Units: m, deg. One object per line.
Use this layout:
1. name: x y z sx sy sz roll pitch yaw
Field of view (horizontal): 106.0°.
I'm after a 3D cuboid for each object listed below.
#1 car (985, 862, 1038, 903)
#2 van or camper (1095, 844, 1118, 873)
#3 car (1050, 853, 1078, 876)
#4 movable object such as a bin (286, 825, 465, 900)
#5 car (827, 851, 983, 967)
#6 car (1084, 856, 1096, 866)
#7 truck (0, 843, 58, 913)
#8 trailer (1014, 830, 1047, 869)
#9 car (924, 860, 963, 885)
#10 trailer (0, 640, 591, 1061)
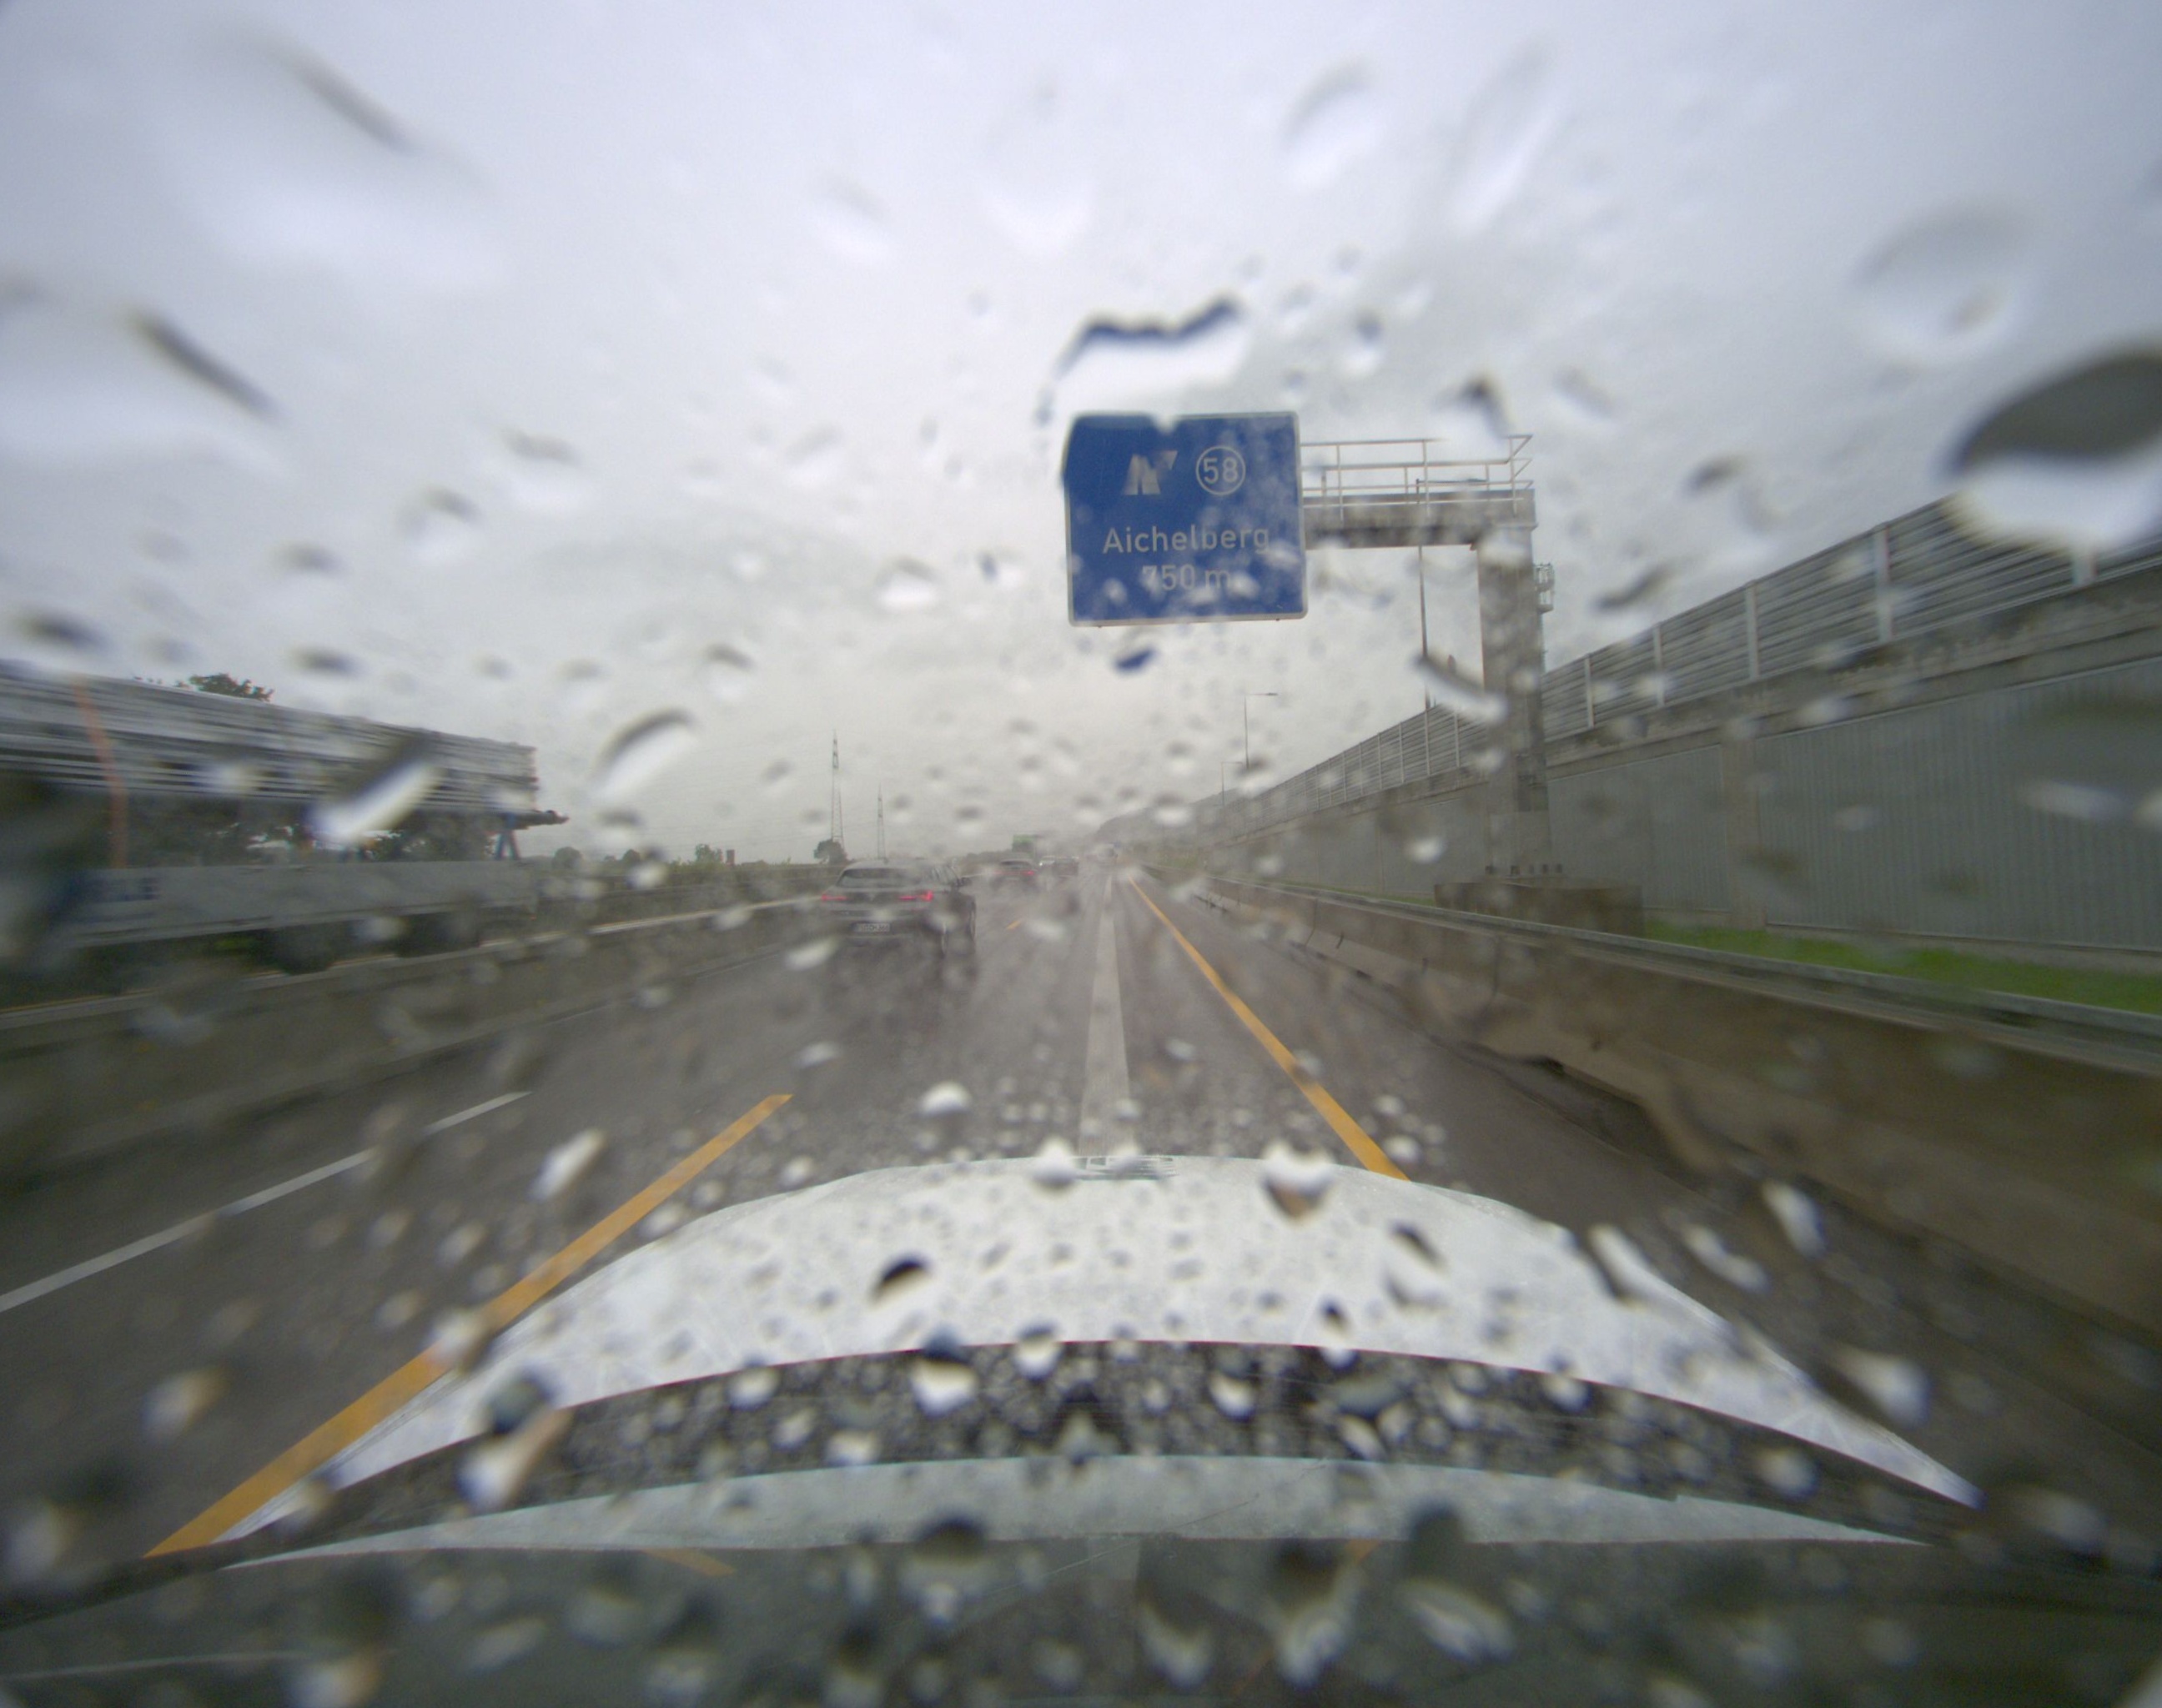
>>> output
1. car: -2.682 1.105 32.364 1.839 1.491 4.258 -1 -1 -2
2. van or camper: 2.500 0.457 80.048 1.991 2.778 4.046 -1 -2 -2
3. car: -1.246 0.715 58.875 1.839 1.491 4.258 -3 0 -2
4. movable object such as a bin: -40.512 0.568 47.299 2.719 3.920 8.466 -1 -2 2
5. car: -2.733 0.820 13.744 1.696 1.598 4.841 -1 -1 -2
6. car: 1.431 1.092 125.145 1.559 1.480 2.825 -4 -2 4
7. truck: -43.160 0.952 28.771 2.504 2.704 8.909 -1 0 3
8. trailer: -6.168 -0.529 101.510 2.571 4.457 13.561 -1 0 3
9. car: -8.283 1.101 49.347 1.563 1.436 3.894 -1 0 1
10. trailer: -9.877 -0.020 9.093 2.651 3.362 9.719 0 0 2
